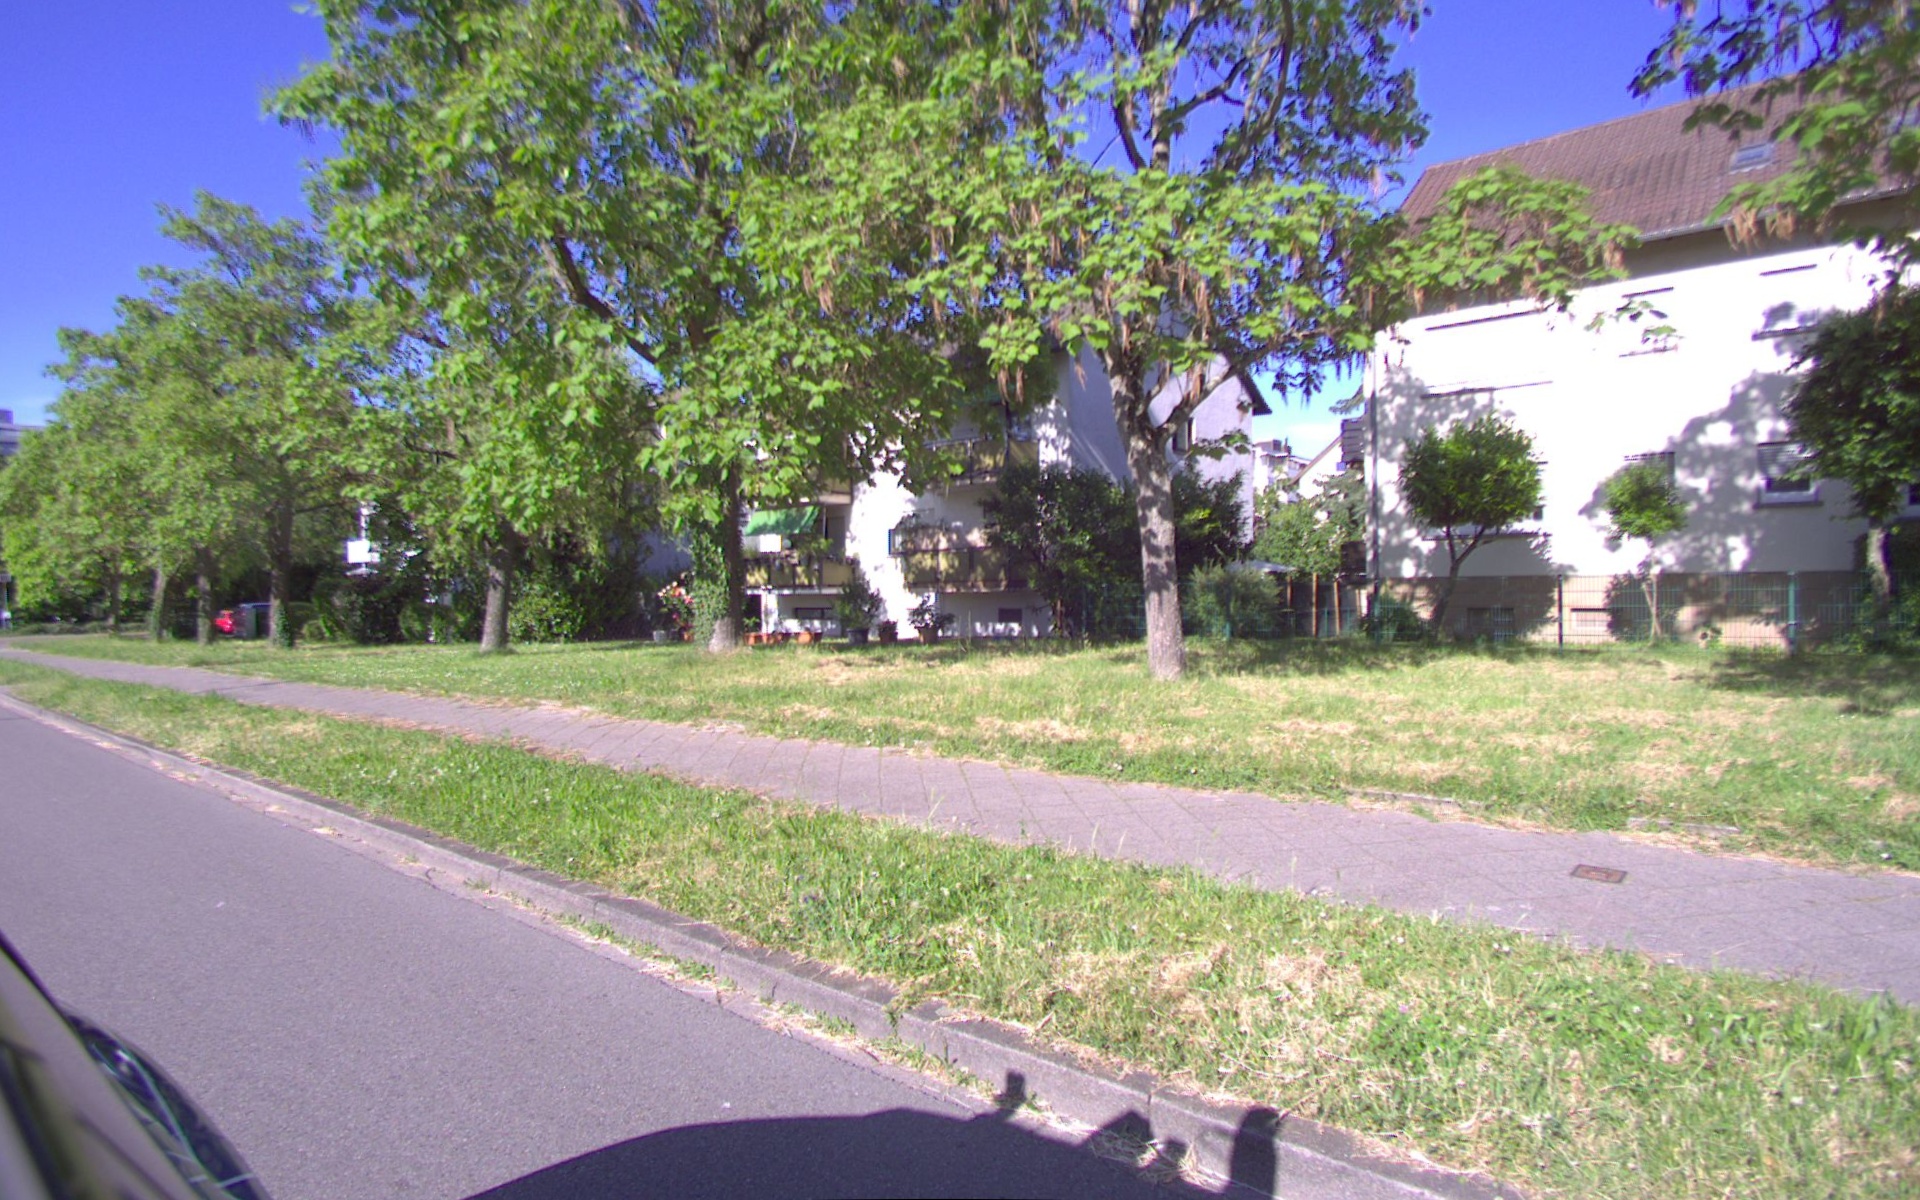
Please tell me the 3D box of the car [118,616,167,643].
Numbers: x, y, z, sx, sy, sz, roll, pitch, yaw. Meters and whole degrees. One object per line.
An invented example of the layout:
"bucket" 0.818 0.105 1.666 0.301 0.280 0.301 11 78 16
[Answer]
"car" -50.721 1.796 62.781 3.882 1.498 1.653 1 1 40

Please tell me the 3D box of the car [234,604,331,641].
"car" -39.689 1.315 59.361 2.069 1.984 4.402 -3 -1 43

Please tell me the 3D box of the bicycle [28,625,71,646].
"bicycle" -55.770 2.172 62.004 1.875 1.160 0.762 -1 3 -40

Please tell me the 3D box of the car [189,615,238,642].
"car" -47.424 1.798 64.277 3.882 1.498 1.653 1 1 40
